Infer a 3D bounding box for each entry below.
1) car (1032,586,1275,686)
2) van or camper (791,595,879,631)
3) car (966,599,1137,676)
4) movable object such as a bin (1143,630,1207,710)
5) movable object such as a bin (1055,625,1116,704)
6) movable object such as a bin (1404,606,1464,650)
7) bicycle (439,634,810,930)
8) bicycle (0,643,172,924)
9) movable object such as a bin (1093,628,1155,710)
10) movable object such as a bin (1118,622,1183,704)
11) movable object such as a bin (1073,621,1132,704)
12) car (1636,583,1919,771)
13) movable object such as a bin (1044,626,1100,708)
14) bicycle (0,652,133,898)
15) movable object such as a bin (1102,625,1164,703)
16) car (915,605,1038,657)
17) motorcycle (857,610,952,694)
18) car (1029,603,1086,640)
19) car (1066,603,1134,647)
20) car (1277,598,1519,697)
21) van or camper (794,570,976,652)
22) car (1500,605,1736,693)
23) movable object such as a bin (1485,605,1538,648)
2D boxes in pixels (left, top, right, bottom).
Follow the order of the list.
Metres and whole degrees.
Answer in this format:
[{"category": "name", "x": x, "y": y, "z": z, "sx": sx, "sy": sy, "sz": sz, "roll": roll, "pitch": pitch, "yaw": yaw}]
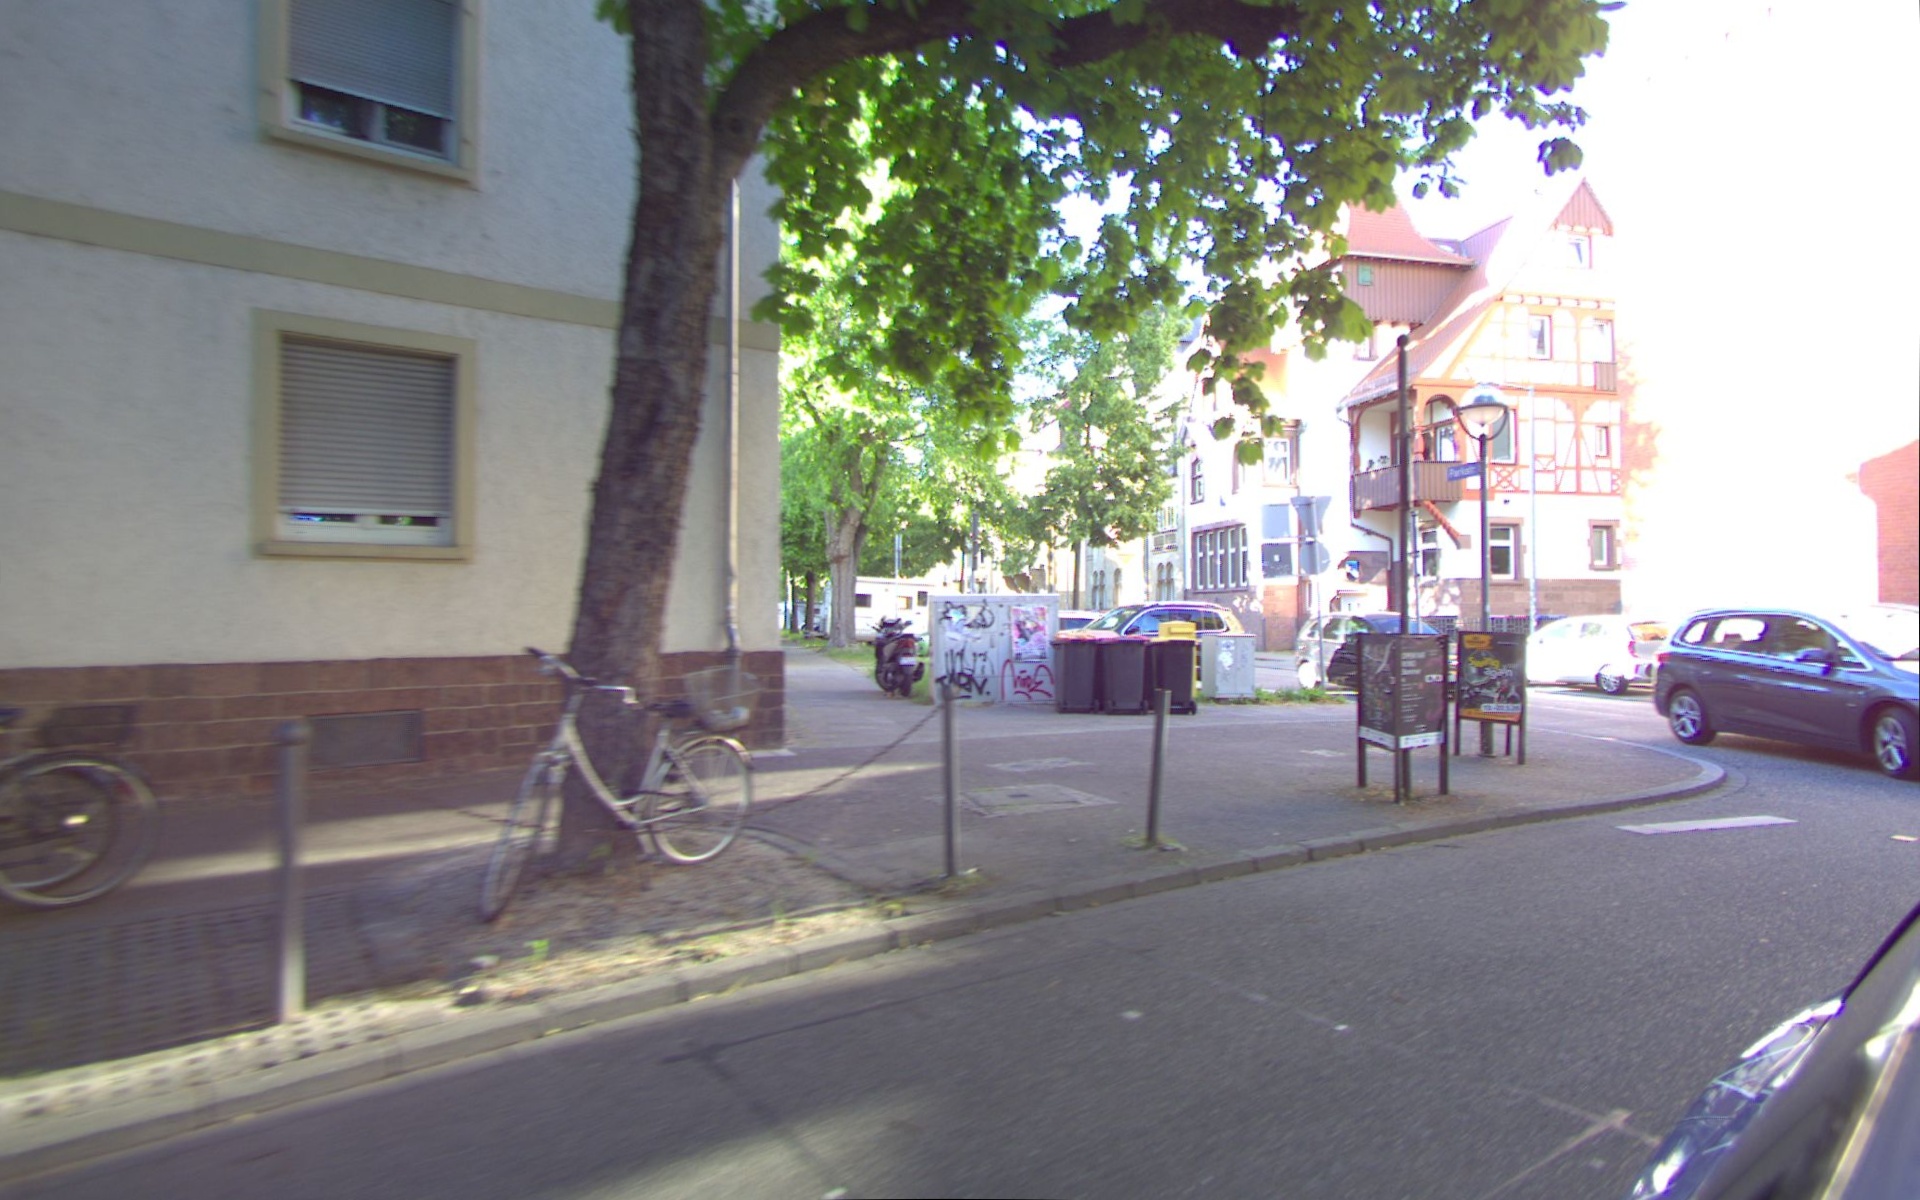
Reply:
[{"category": "car", "x": 3.618, "y": 0.693, "z": 19.146, "sx": 4.032, "sy": 1.735, "sz": 2.027, "roll": 1, "pitch": -2, "yaw": -17}, {"category": "van or camper", "x": -10.542, "y": 1.036, "z": 85.329, "sx": 7.120, "sy": 2.941, "sz": 2.432, "roll": 0, "pitch": 0, "yaw": -12}, {"category": "car", "x": 2.086, "y": 0.839, "z": 23.546, "sx": 3.629, "sy": 1.672, "sz": 1.706, "roll": 0, "pitch": -1, "yaw": -9}, {"category": "movable object such as a bin", "x": 3.027, "y": 0.973, "z": 14.284, "sx": 0.645, "sy": 1.078, "sz": 0.695, "roll": 0, "pitch": -1, "yaw": -12}, {"category": "movable object such as a bin", "x": 1.914, "y": 0.972, "z": 15.495, "sx": 0.724, "sy": 1.167, "sz": 0.702, "roll": 0, "pitch": -1, "yaw": -12}, {"category": "movable object such as a bin", "x": 14.722, "y": 0.858, "z": 31.432, "sx": 1.353, "sy": 1.315, "sz": 0.969, "roll": -1, "pitch": -1, "yaw": -3}, {"category": "bicycle", "x": -1.602, "y": 0.791, "z": 5.111, "sx": 0.552, "sy": 1.197, "sz": 1.765, "roll": -1, "pitch": -1, "yaw": 39}, {"category": "bicycle", "x": -4.509, "y": 0.808, "z": 4.313, "sx": 0.436, "sy": 1.196, "sz": 1.759, "roll": -1, "pitch": -1, "yaw": 39}, {"category": "movable object such as a bin", "x": 2.263, "y": 0.937, "z": 14.031, "sx": 0.617, "sy": 1.089, "sz": 0.706, "roll": 0, "pitch": -1, "yaw": -12}, {"category": "movable object such as a bin", "x": 2.804, "y": 0.915, "z": 14.952, "sx": 0.724, "sy": 1.167, "sz": 0.702, "roll": 0, "pitch": -1, "yaw": -12}, {"category": "movable object such as a bin", "x": 2.071, "y": 0.891, "z": 14.752, "sx": 0.620, "sy": 1.168, "sz": 0.702, "roll": -1, "pitch": -1, "yaw": -12}, {"category": "car", "x": 9.351, "y": 0.660, "z": 10.356, "sx": 1.890, "sy": 1.627, "sz": 4.513, "roll": -2, "pitch": -1, "yaw": 2}, {"category": "movable object such as a bin", "x": 1.551, "y": 0.922, "z": 14.092, "sx": 0.580, "sy": 1.097, "sz": 0.675, "roll": 0, "pitch": -1, "yaw": -13}, {"category": "bicycle", "x": -4.880, "y": 0.831, "z": 4.533, "sx": 0.390, "sy": 1.123, "sz": 1.778, "roll": -1, "pitch": -1, "yaw": 38}, {"category": "movable object such as a bin", "x": 2.670, "y": 0.976, "z": 15.702, "sx": 0.724, "sy": 1.167, "sz": 0.717, "roll": 0, "pitch": -1, "yaw": -12}, {"category": "car", "x": 0.479, "y": 0.963, "z": 31.336, "sx": 3.526, "sy": 1.525, "sz": 1.680, "roll": 1, "pitch": -2, "yaw": -11}, {"category": "motorcycle", "x": -0.964, "y": 0.825, "z": 16.847, "sx": 0.958, "sy": 1.296, "sz": 2.186, "roll": 0, "pitch": -1, "yaw": -21}, {"category": "car", "x": 5.243, "y": 1.135, "z": 55.161, "sx": 1.738, "sy": 1.875, "sz": 4.549, "roll": -1, "pitch": -1, "yaw": -12}, {"category": "car", "x": 6.614, "y": 1.172, "z": 48.241, "sx": 1.767, "sy": 1.931, "sz": 4.332, "roll": -2, "pitch": 0, "yaw": -12}, {"category": "car", "x": 8.241, "y": 0.854, "z": 19.536, "sx": 1.958, "sy": 1.613, "sz": 4.270, "roll": -2, "pitch": -1, "yaw": -16}, {"category": "van or camper", "x": -3.046, "y": 0.433, "z": 40.786, "sx": 6.950, "sy": 3.117, "sz": 2.469, "roll": 0, "pitch": -1, "yaw": -15}, {"category": "car", "x": 12.919, "y": 0.897, "z": 20.180, "sx": 1.675, "sy": 1.504, "sz": 3.803, "roll": -2, "pitch": 0, "yaw": -12}, {"category": "movable object such as a bin", "x": 17.378, "y": 0.826, "z": 31.892, "sx": 1.355, "sy": 1.334, "sz": 0.688, "roll": -1, "pitch": -1, "yaw": -19}]
